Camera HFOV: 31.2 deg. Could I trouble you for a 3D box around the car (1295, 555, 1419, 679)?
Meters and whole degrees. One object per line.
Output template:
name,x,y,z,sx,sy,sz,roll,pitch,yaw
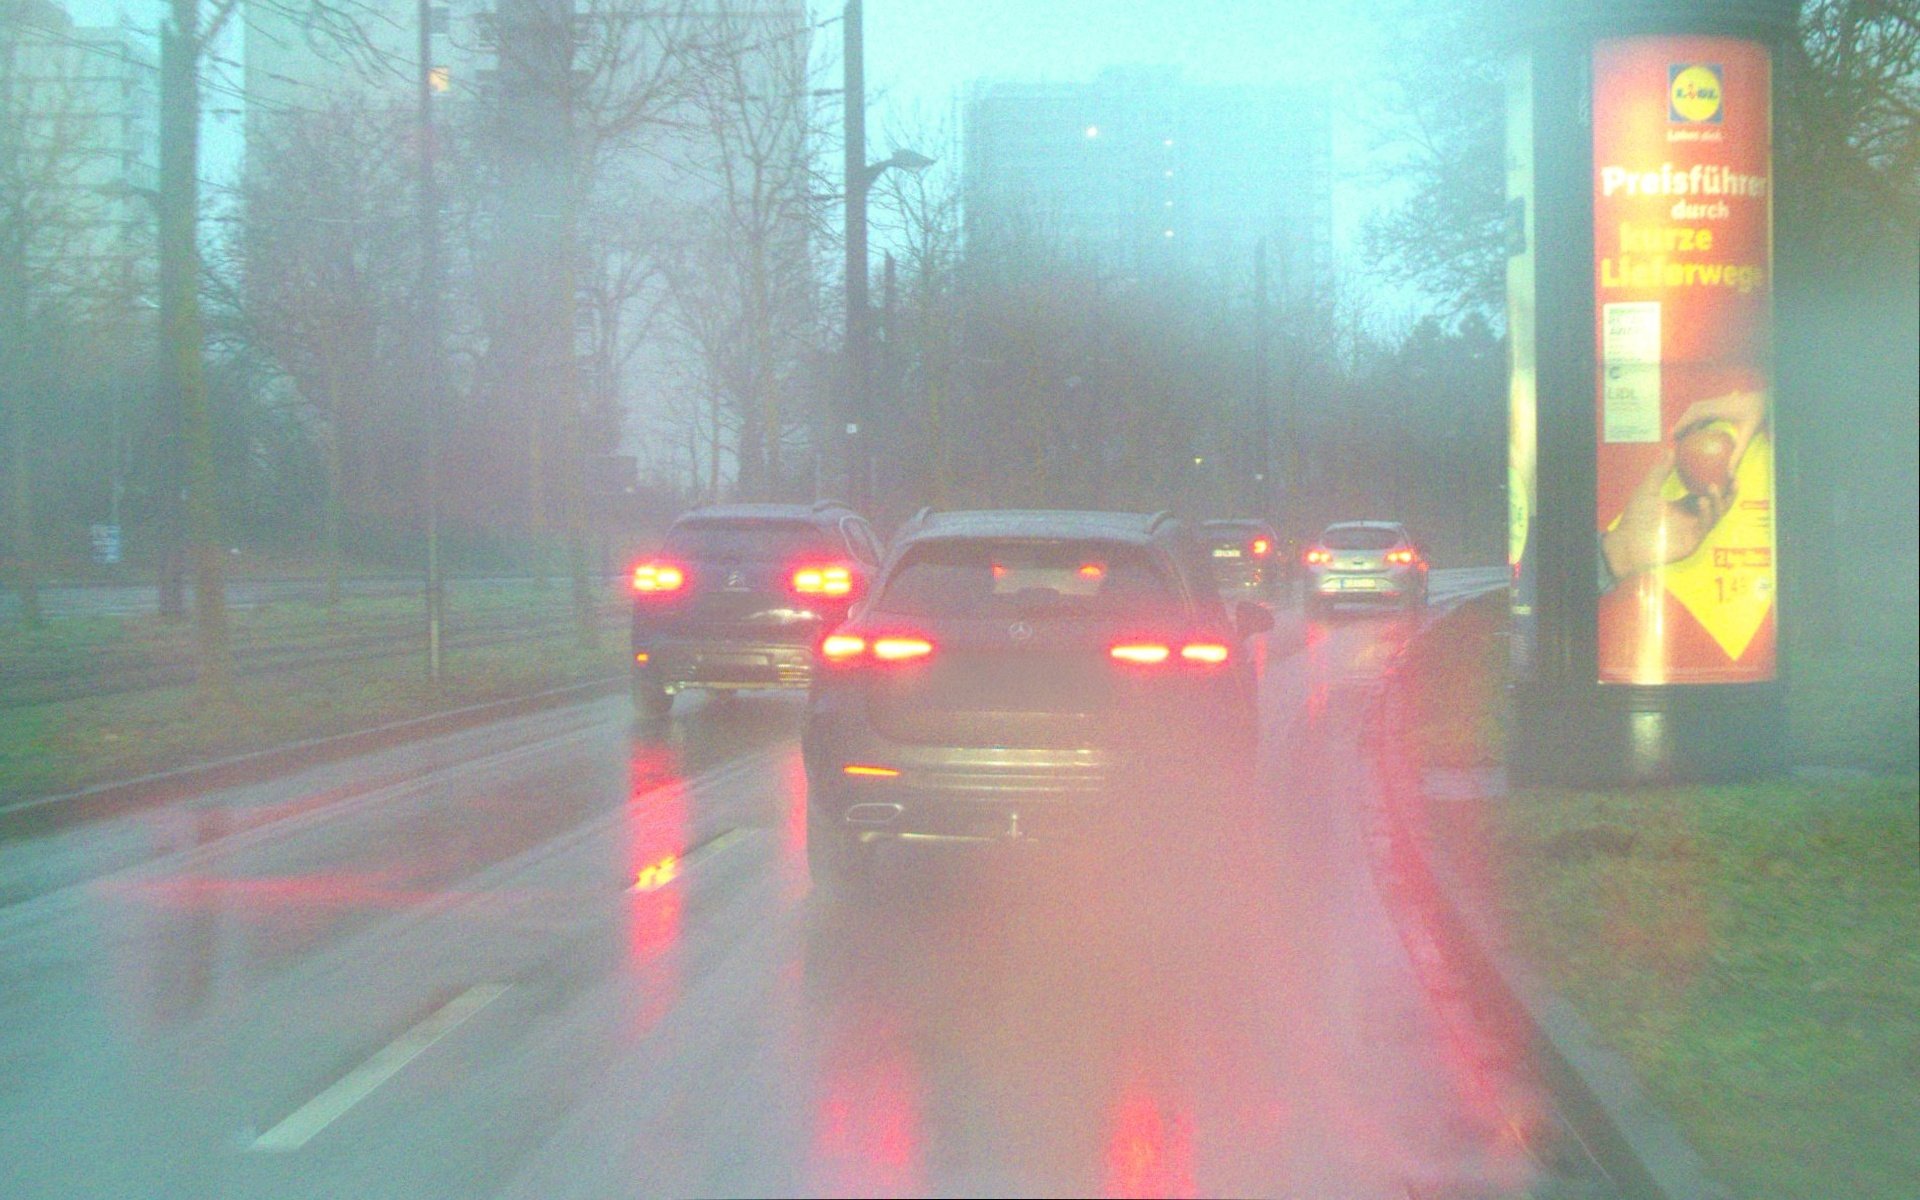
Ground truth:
car,6.370,0.263,55.155,1.857,1.885,3.999,1,0,7

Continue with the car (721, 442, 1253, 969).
car,0.203,0.399,15.162,1.994,1.969,4.068,1,0,3

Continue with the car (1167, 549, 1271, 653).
car,4.951,0.023,65.425,1.773,1.885,3.641,1,0,7

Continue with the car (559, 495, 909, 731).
car,-1.711,0.095,27.601,1.994,1.706,4.323,1,0,7

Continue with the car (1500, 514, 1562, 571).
car,15.979,-1.600,96.297,1.535,1.508,3.342,1,0,7
